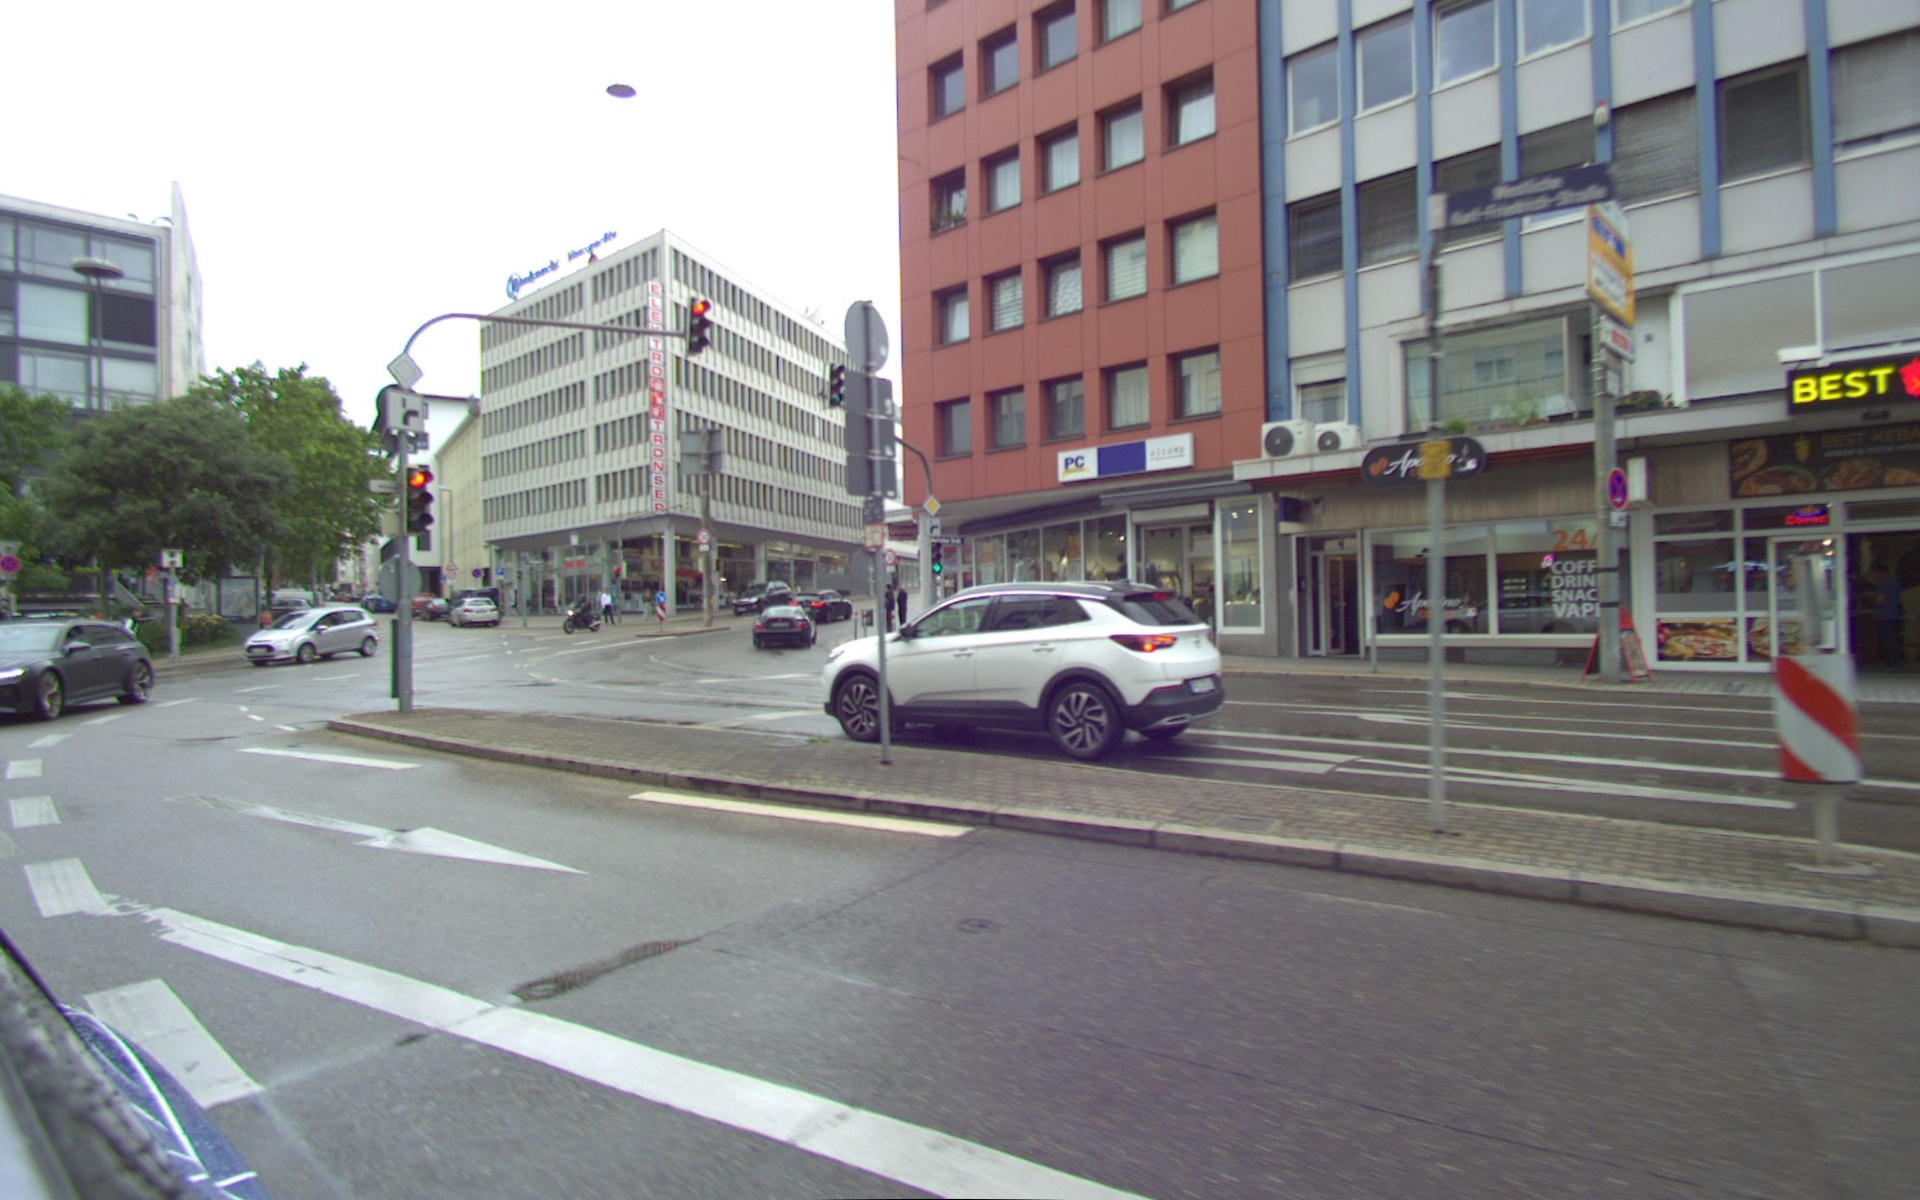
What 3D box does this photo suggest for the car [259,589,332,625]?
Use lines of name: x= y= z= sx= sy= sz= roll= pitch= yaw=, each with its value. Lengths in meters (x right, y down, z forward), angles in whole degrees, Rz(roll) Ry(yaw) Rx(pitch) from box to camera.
car: x=-46.437 y=0.446 z=70.794 sx=3.771 sy=2.282 sz=1.992 roll=-3 pitch=2 yaw=-18

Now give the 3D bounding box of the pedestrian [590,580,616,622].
pedestrian: x=-17.708 y=0.043 z=50.200 sx=0.978 sy=2.029 sz=0.950 roll=-2 pitch=0 yaw=-34

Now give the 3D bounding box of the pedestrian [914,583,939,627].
pedestrian: x=-1.291 y=0.193 z=38.944 sx=0.688 sy=1.641 sz=0.730 roll=-3 pitch=1 yaw=14

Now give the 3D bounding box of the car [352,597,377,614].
car: x=-67.224 y=0.623 z=114.199 sx=1.994 sy=1.661 sz=4.438 roll=-4 pitch=1 yaw=-36

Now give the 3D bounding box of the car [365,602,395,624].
car: x=-53.025 y=1.155 z=92.469 sx=1.994 sy=1.854 sz=4.055 roll=-4 pitch=1 yaw=-34

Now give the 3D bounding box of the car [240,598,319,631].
car: x=-37.424 y=0.771 z=55.725 sx=3.487 sy=1.570 sz=1.745 roll=-4 pitch=2 yaw=-32

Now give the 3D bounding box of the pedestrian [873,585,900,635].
pedestrian: x=-2.711 y=0.367 z=37.282 sx=0.726 sy=1.760 sz=0.740 roll=-3 pitch=1 yaw=12

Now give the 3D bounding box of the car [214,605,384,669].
car: x=-19.798 y=1.051 z=30.539 sx=1.978 sy=1.595 sz=4.091 roll=-3 pitch=1 yaw=10

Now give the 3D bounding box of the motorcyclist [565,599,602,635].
motorcyclist: x=-15.625 y=0.689 z=41.999 sx=0.908 sy=1.453 sz=1.103 roll=-1 pitch=0 yaw=31

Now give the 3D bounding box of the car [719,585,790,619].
car: x=-11.164 y=0.083 z=55.255 sx=1.985 sy=1.696 sz=3.973 roll=-2 pitch=1 yaw=20

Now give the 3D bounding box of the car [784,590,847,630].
car: x=-6.465 y=0.422 z=45.712 sx=1.974 sy=1.563 sz=4.374 roll=-3 pitch=1 yaw=3

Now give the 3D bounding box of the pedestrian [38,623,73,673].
pedestrian: x=-34.757 y=1.841 z=38.910 sx=0.591 sy=1.827 sz=0.780 roll=-4 pitch=0 yaw=32

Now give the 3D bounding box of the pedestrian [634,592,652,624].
pedestrian: x=-16.633 y=0.412 z=53.130 sx=0.703 sy=1.635 sz=0.726 roll=-2 pitch=0 yaw=-31

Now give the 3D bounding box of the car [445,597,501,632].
car: x=-25.444 y=0.756 z=52.764 sx=1.969 sy=1.643 sz=4.627 roll=-4 pitch=1 yaw=-33

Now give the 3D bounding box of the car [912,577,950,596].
car: x=-3.231 y=-1.505 z=112.462 sx=3.956 sy=1.971 sz=1.742 roll=-2 pitch=1 yaw=10

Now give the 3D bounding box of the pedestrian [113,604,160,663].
pedestrian: x=-26.384 y=1.073 z=32.422 sx=0.786 sy=1.761 sz=0.775 roll=-4 pitch=4 yaw=32

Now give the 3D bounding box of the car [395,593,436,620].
car: x=-37.828 y=0.443 z=70.267 sx=1.902 sy=1.684 sz=4.456 roll=-4 pitch=1 yaw=-36

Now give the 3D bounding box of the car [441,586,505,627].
car: x=-27.942 y=0.395 z=57.972 sx=2.065 sy=2.106 sz=4.621 roll=-4 pitch=1 yaw=-41

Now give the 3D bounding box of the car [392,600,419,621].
car: x=-51.572 y=0.996 z=94.137 sx=1.721 sy=1.808 sz=3.676 roll=-4 pitch=1 yaw=-36

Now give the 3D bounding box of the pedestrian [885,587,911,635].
pedestrian: x=-2.319 y=0.404 z=37.977 sx=0.726 sy=1.760 sz=0.697 roll=-3 pitch=1 yaw=12

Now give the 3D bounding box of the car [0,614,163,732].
car: x=-14.417 y=1.041 z=15.495 sx=1.966 sy=1.502 sz=4.750 roll=-2 pitch=1 yaw=-19

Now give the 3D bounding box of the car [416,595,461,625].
car: x=-33.488 y=0.656 z=64.877 sx=1.994 sy=1.762 sz=4.626 roll=-4 pitch=1 yaw=-33

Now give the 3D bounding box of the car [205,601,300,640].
car: x=-33.744 y=0.951 z=48.353 sx=3.486 sy=1.570 sz=1.745 roll=-4 pitch=2 yaw=-30

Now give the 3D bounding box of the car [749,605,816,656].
car: x=-5.593 y=0.915 z=32.325 sx=1.770 sy=1.371 sz=4.066 roll=-3 pitch=1 yaw=-6

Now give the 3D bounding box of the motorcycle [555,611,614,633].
motorcycle: x=-15.586 y=0.902 z=42.049 sx=0.710 sy=0.848 sz=2.370 roll=-1 pitch=1 yaw=31

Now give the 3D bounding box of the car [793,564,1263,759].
car: x=0.582 y=0.556 z=10.422 sx=4.420 sy=1.563 sz=1.976 roll=-3 pitch=1 yaw=36

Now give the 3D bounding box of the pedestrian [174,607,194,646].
pedestrian: x=-37.511 y=1.274 z=48.928 sx=0.583 sy=1.827 sz=0.706 roll=-4 pitch=0 yaw=-32

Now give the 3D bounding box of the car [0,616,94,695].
car: x=-20.882 y=1.227 z=21.268 sx=1.846 sy=1.558 sz=4.105 roll=-3 pitch=1 yaw=-1
